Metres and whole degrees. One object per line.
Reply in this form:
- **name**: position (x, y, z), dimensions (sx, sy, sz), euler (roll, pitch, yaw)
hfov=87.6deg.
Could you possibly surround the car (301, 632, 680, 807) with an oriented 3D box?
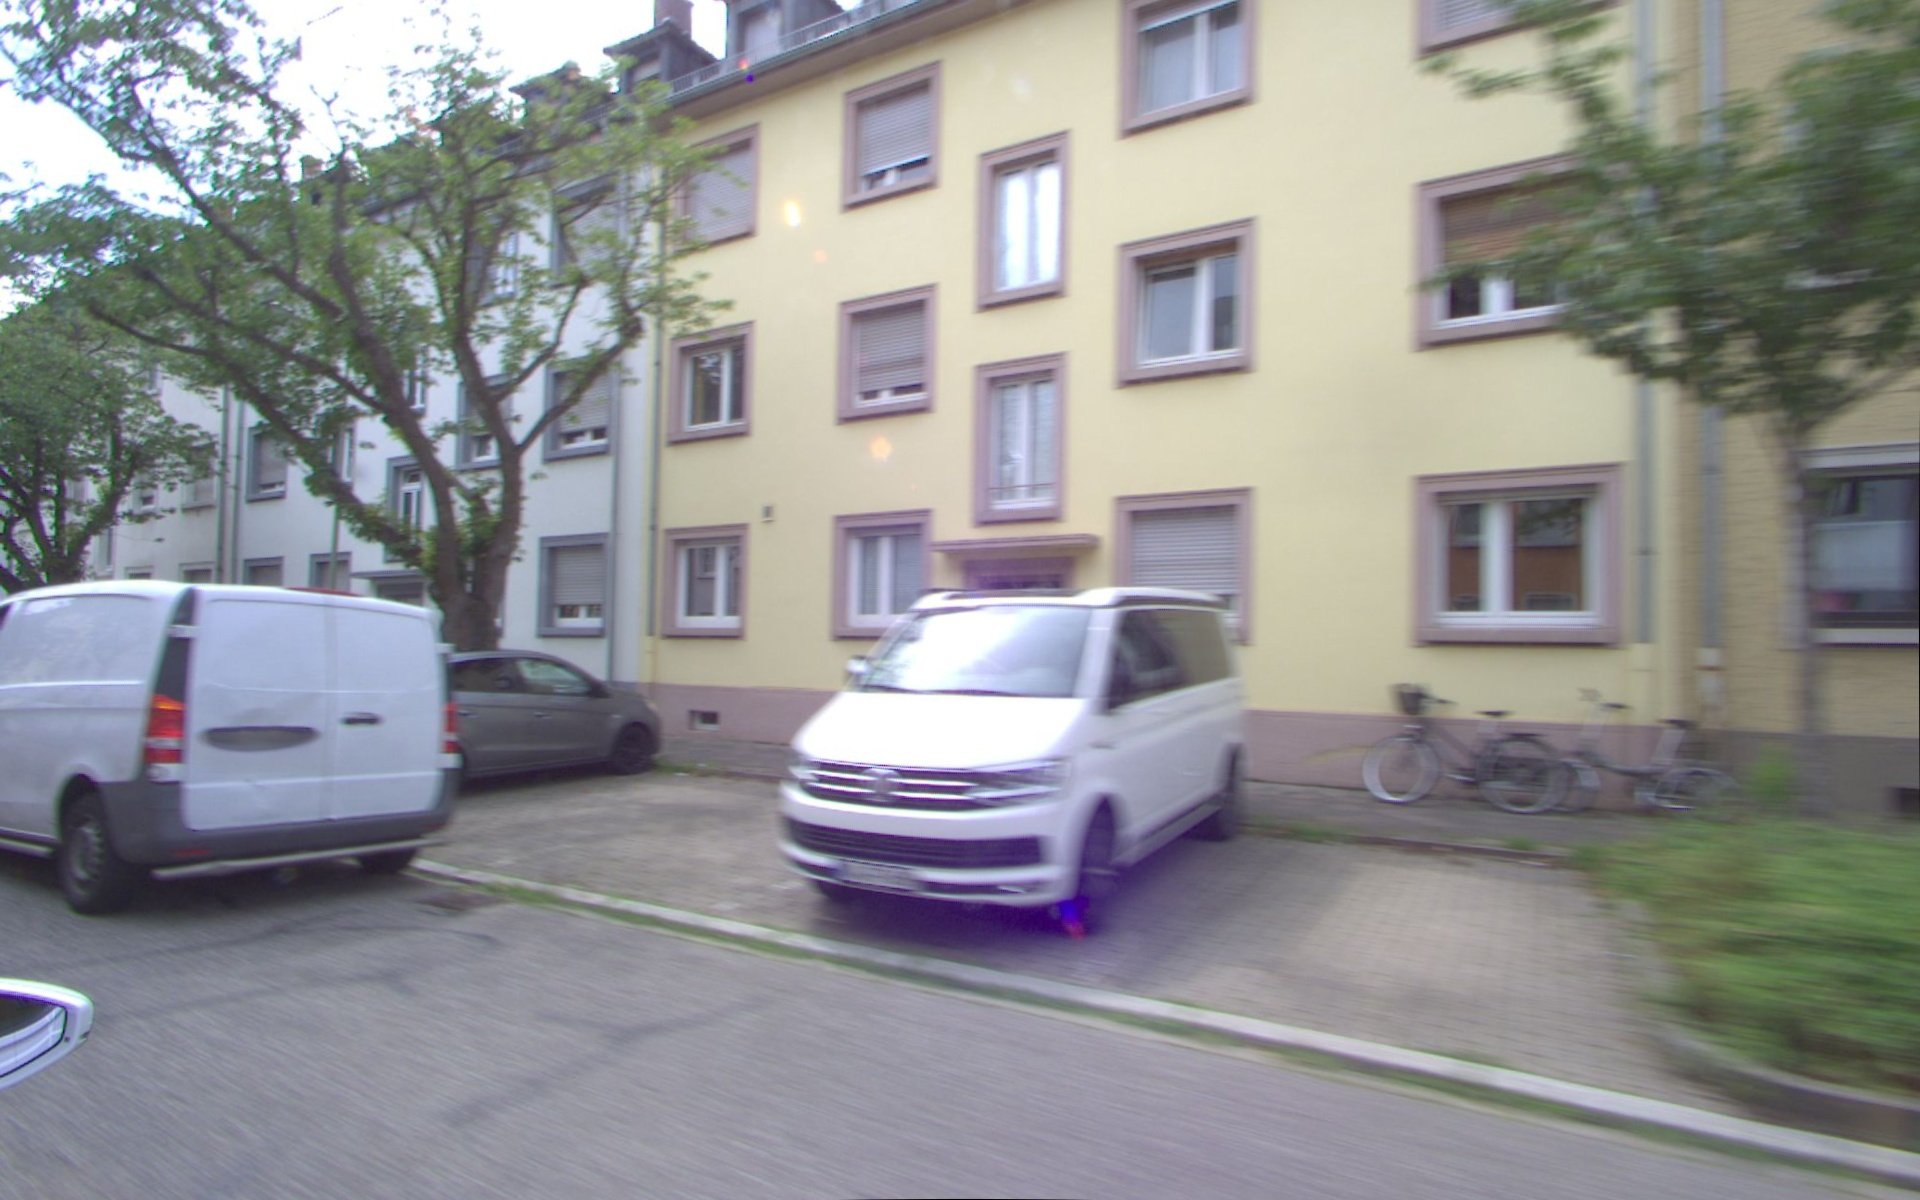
- **car**: position (-5.056, 1.166, 11.215), dimensions (1.787, 1.594, 3.474), euler (-1, -1, 30)

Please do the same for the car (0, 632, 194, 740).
- **car**: position (-13.887, 1.226, 14.588), dimensions (1.740, 1.473, 3.982), euler (-1, -2, 30)

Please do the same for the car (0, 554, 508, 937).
- **car**: position (-5.634, 0.855, 7.112), dimensions (4.633, 1.937, 1.994), euler (-1, -5, 29)

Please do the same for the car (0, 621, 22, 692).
- **car**: position (-23.610, 1.278, 21.879), dimensions (1.875, 1.618, 4.212), euler (-1, -1, 29)

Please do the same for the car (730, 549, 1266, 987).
- **car**: position (0.783, 0.858, 7.496), dimensions (2.041, 2.049, 5.228), euler (-1, -1, 27)

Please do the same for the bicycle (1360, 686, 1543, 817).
- **bicycle**: position (4.729, 1.429, 9.684), dimensions (1.546, 1.120, 0.450), euler (-1, -1, 29)

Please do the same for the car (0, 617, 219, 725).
- **car**: position (-15.469, 1.152, 17.070), dimensions (1.877, 1.699, 4.206), euler (-1, -2, 33)

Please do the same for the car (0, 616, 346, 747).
- **car**: position (-11.101, 1.021, 14.053), dimensions (1.614, 1.556, 3.982), euler (-1, -1, 30)

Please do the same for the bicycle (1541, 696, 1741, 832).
- **bicycle**: position (6.037, 1.432, 8.962), dimensions (1.432, 1.065, 0.450), euler (-1, -1, 29)

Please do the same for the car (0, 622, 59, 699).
- **car**: position (-21.560, 1.269, 20.540), dimensions (1.875, 1.618, 4.211), euler (-1, -1, 29)
